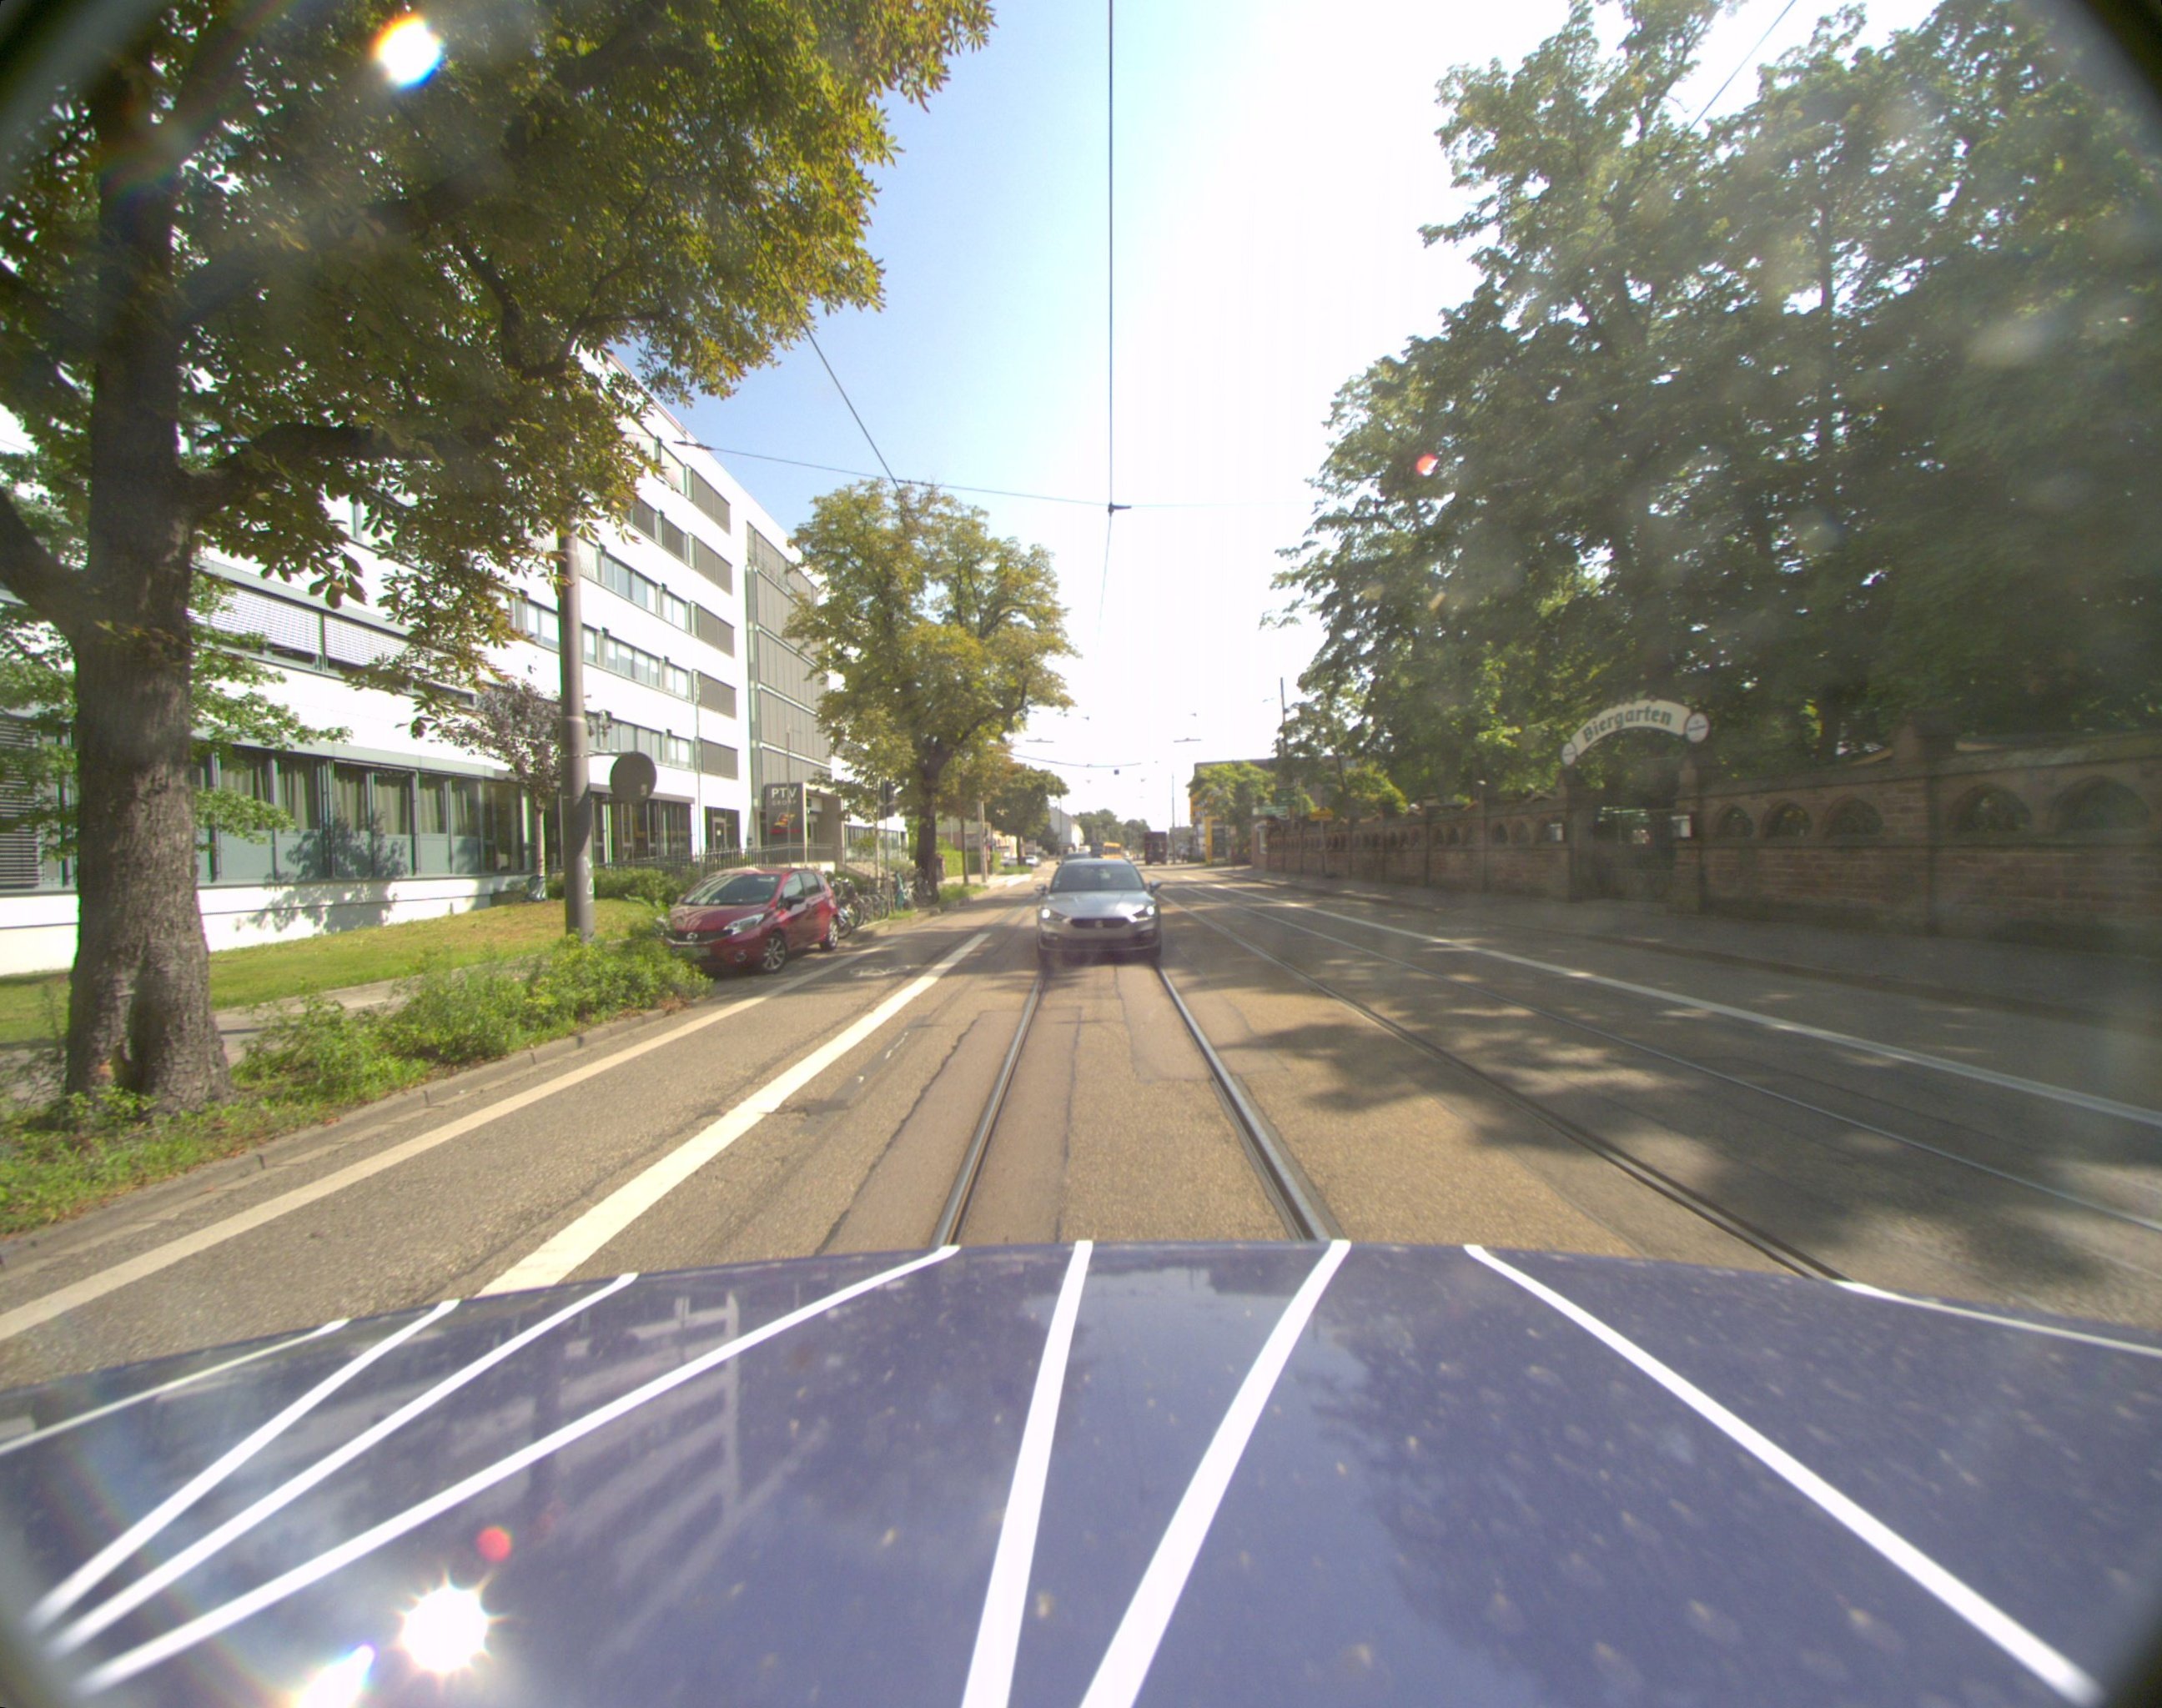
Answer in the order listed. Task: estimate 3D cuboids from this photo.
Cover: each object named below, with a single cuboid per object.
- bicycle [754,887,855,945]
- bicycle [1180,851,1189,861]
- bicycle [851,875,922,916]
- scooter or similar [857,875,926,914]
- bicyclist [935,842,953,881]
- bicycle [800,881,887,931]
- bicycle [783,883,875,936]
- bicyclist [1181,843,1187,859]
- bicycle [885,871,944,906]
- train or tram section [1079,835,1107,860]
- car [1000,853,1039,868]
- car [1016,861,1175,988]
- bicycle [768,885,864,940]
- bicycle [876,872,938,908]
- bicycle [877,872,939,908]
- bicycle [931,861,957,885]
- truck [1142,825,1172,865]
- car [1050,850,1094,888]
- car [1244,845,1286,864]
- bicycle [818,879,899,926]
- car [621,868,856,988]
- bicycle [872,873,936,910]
[{"bbox_3d":[-5.404,1.198,14.905,1.775,1.065,0.540,-1,1,0],"label":"bicycle"},{"bbox_3d":[12.802,0.275,93.940,0.787,1.233,2.036,-3,0,14],"label":"bicycle"},{"bbox_3d":[-5.318,1.140,20.849,1.775,1.065,0.540,-1,1,0],"label":"bicycle"},{"bbox_3d":[-5.329,1.135,21.437,1.775,1.065,0.540,-1,1,0],"label":"scooter or similar"},{"bbox_3d":[-7.085,0.378,39.314,0.783,2.002,1.273,-2,1,-7],"label":"bicyclist"},{"bbox_3d":[-5.352,1.175,17.165,1.775,1.065,0.540,-1,1,0],"label":"bicycle"},{"bbox_3d":[-5.416,1.185,16.354,1.775,1.065,0.540,-1,1,0],"label":"bicycle"},{"bbox_3d":[12.775,-0.418,94.048,0.642,1.918,1.176,-2,1,10],"label":"bicyclist"},{"bbox_3d":[-5.326,1.108,24.366,1.775,1.065,0.540,-1,1,0],"label":"bicycle"},{"bbox_3d":[2.269,-1.121,131.055,4.111,3.711,24.379,-2,1,2],"label":"train or tram section"},{"bbox_3d":[-7.187,0.723,89.125,4.552,1.506,1.960,-2,1,-4],"label":"car"},{"bbox_3d":[0.199,0.901,11.868,1.928,1.465,4.816,-2,0,0],"label":"car"},{"bbox_3d":[-5.453,1.193,15.680,1.775,1.065,0.540,-1,1,0],"label":"bicycle"},{"bbox_3d":[-5.396,1.118,23.649,1.775,1.065,0.540,-1,1,0],"label":"bicycle"},{"bbox_3d":[-5.385,1.117,23.671,1.775,1.065,0.540,-1,1,0],"label":"bicycle"},{"bbox_3d":[-7.086,0.956,39.454,1.139,1.118,2.535,-2,1,-7],"label":"bicycle"},{"bbox_3d":[9.507,-1.134,93.550,3.171,4.427,16.847,-2,1,7],"label":"truck"},{"bbox_3d":[-0.364,0.647,34.778,1.834,1.543,4.032,-2,1,1],"label":"car"},{"bbox_3d":[15.507,0.013,63.891,1.932,1.452,4.536,-2,1,35],"label":"car"},{"bbox_3d":[-5.335,1.165,18.266,1.775,1.065,0.540,-1,1,0],"label":"bicycle"},{"bbox_3d":[-5.169,1.029,12.203,1.760,1.453,4.274,-1,0,1],"label":"car"},{"bbox_3d":[-5.362,1.122,23.070,1.775,1.065,0.540,-1,1,0],"label":"bicycle"}]
